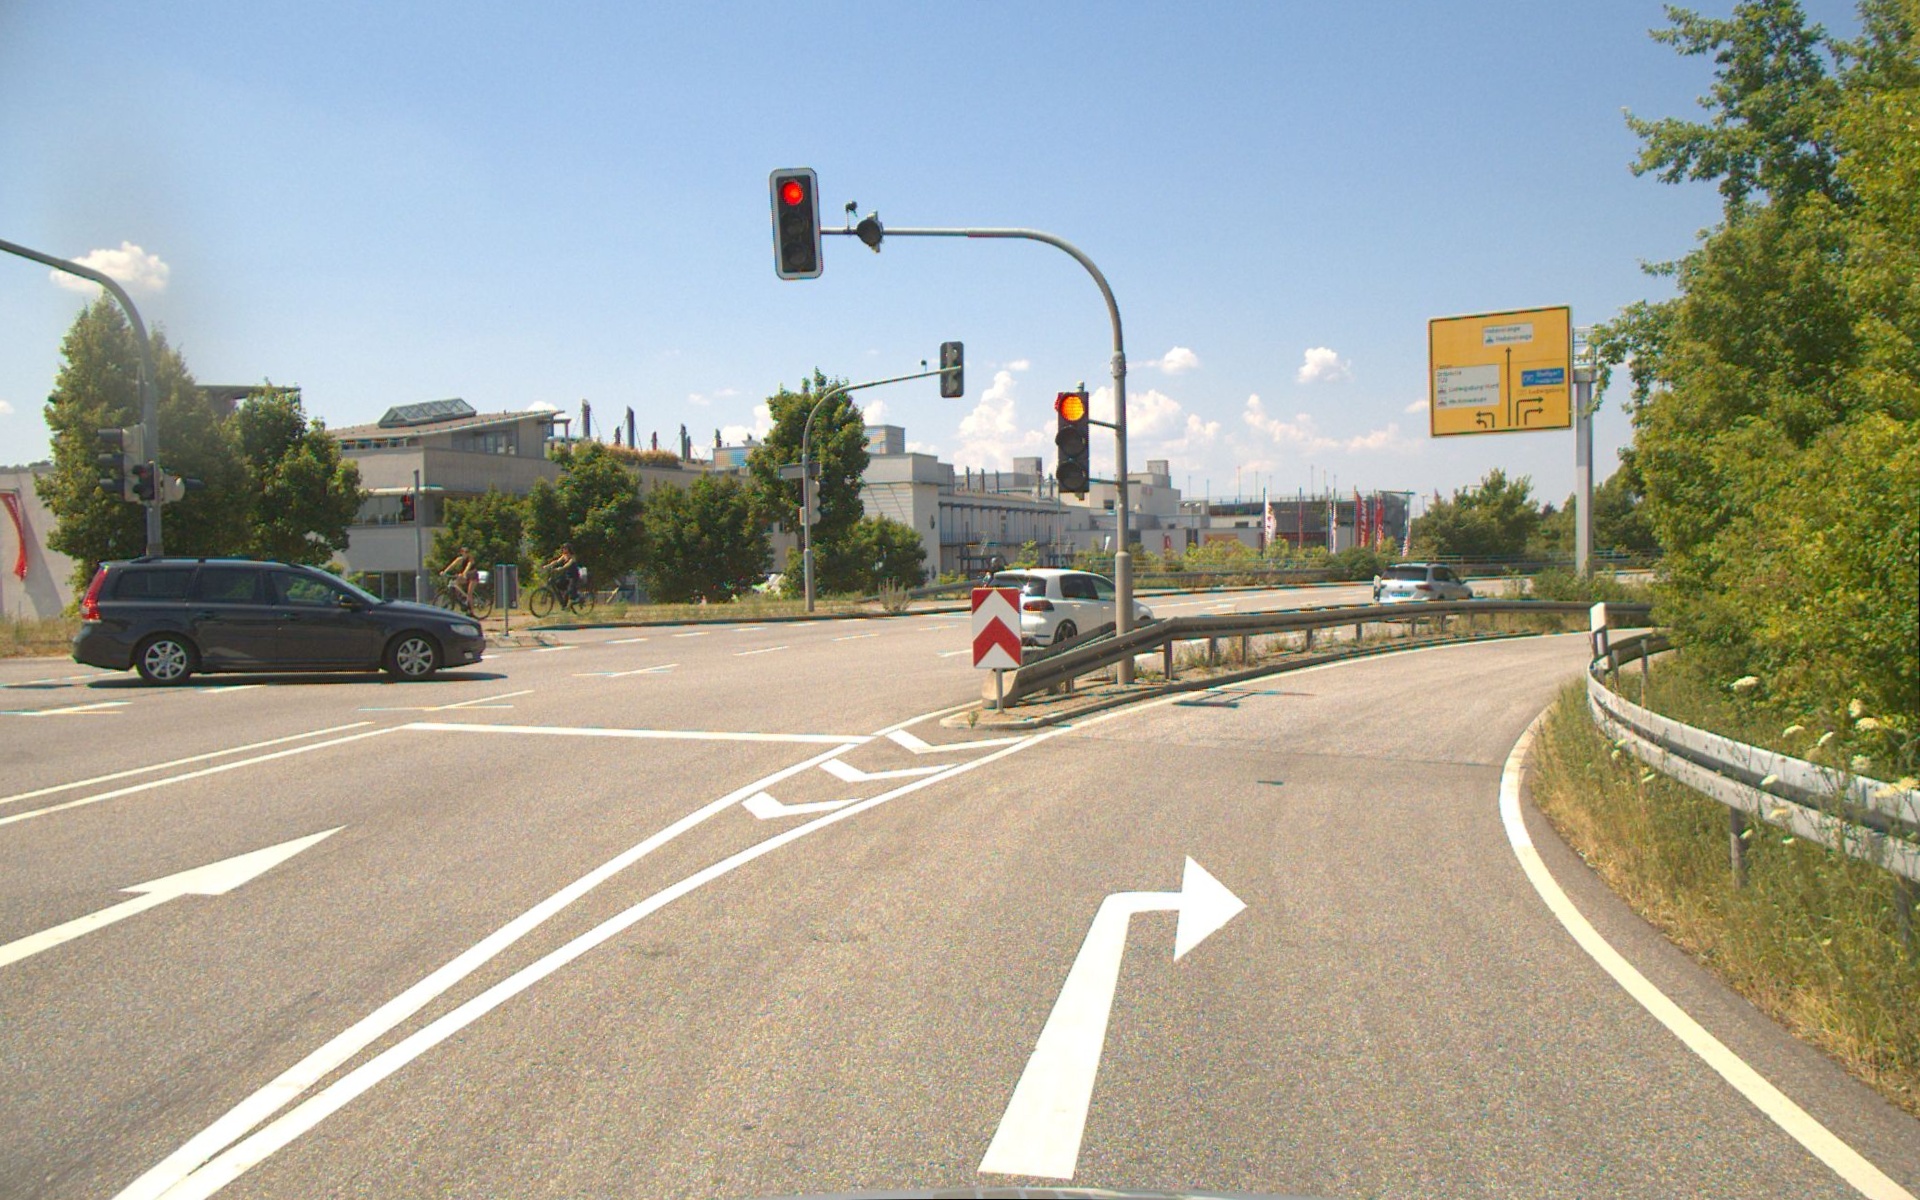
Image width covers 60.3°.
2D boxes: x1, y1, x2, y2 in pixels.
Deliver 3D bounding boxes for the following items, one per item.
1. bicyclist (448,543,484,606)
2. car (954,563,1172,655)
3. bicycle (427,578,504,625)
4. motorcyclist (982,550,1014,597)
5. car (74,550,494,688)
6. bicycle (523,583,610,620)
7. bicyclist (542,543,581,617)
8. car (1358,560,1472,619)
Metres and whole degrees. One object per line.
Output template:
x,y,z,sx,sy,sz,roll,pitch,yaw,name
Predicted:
-11.467,-0.589,38.413,0.400,1.428,0.682,2,1,38,bicyclist
1.918,0.117,29.784,1.962,1.512,4.117,1,1,38,car
-11.468,0.021,38.431,0.407,1.042,1.825,2,2,36,bicycle
1.097,-0.766,47.989,0.661,1.325,0.723,-2,0,24,motorcyclist
-8.334,0.191,20.609,4.660,1.572,1.723,-1,1,-26,car
-9.502,0.021,40.006,0.526,0.867,2.113,2,2,43,bicycle
-9.604,-0.487,39.882,0.522,1.747,0.726,2,2,43,bicyclist
13.082,-0.319,47.353,1.957,1.531,4.385,-2,0,32,car
